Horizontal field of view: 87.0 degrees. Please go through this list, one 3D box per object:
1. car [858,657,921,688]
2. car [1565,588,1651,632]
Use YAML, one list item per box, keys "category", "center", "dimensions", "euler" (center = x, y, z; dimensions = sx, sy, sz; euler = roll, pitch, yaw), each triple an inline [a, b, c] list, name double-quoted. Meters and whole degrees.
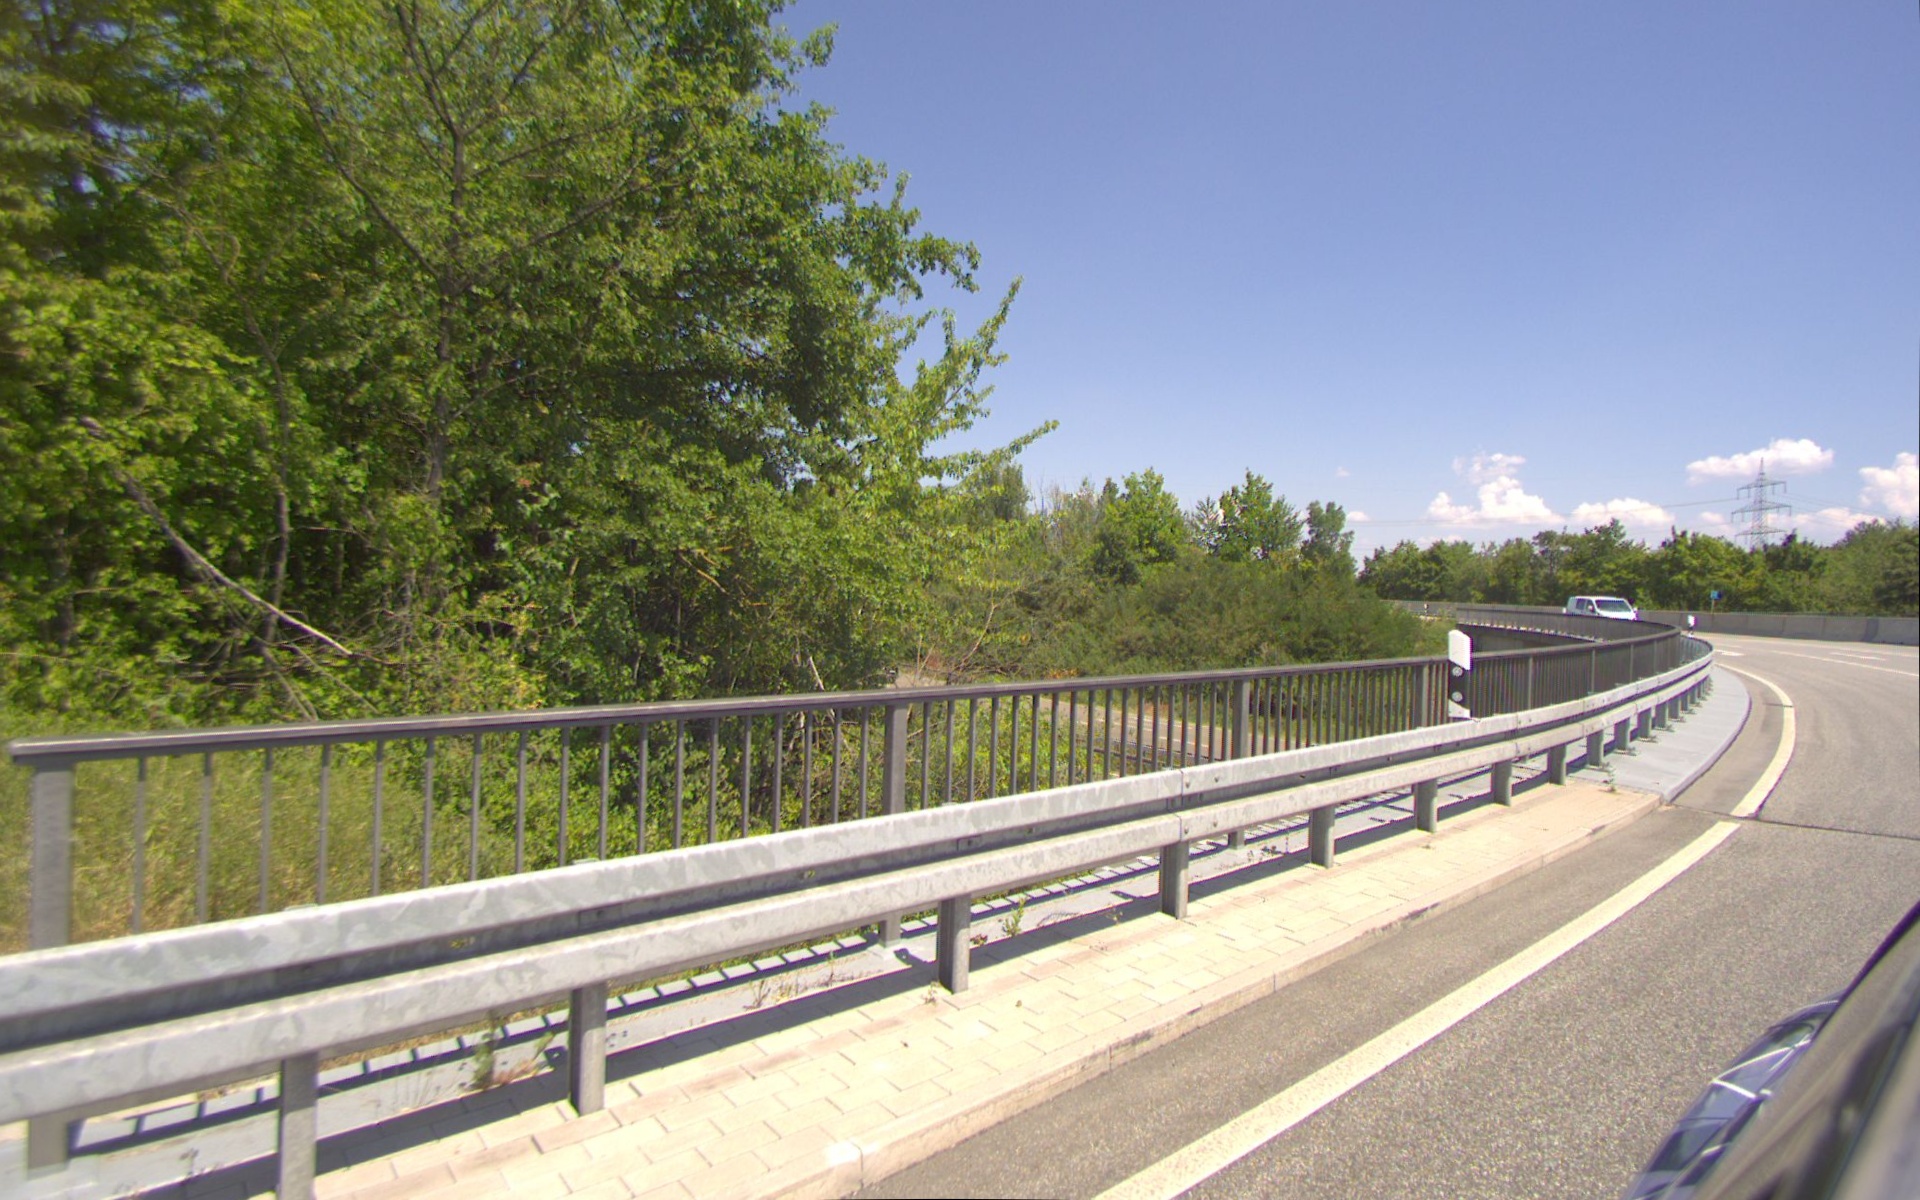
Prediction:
- category: "car"
  center: [-4.715, 4.790, 67.256]
  dimensions: [3.987, 1.636, 1.969]
  euler: [3, 2, 44]
- category: "car"
  center: [33.995, 0.456, 53.295]
  dimensions: [2.002, 2.110, 5.847]
  euler: [1, 1, 14]
